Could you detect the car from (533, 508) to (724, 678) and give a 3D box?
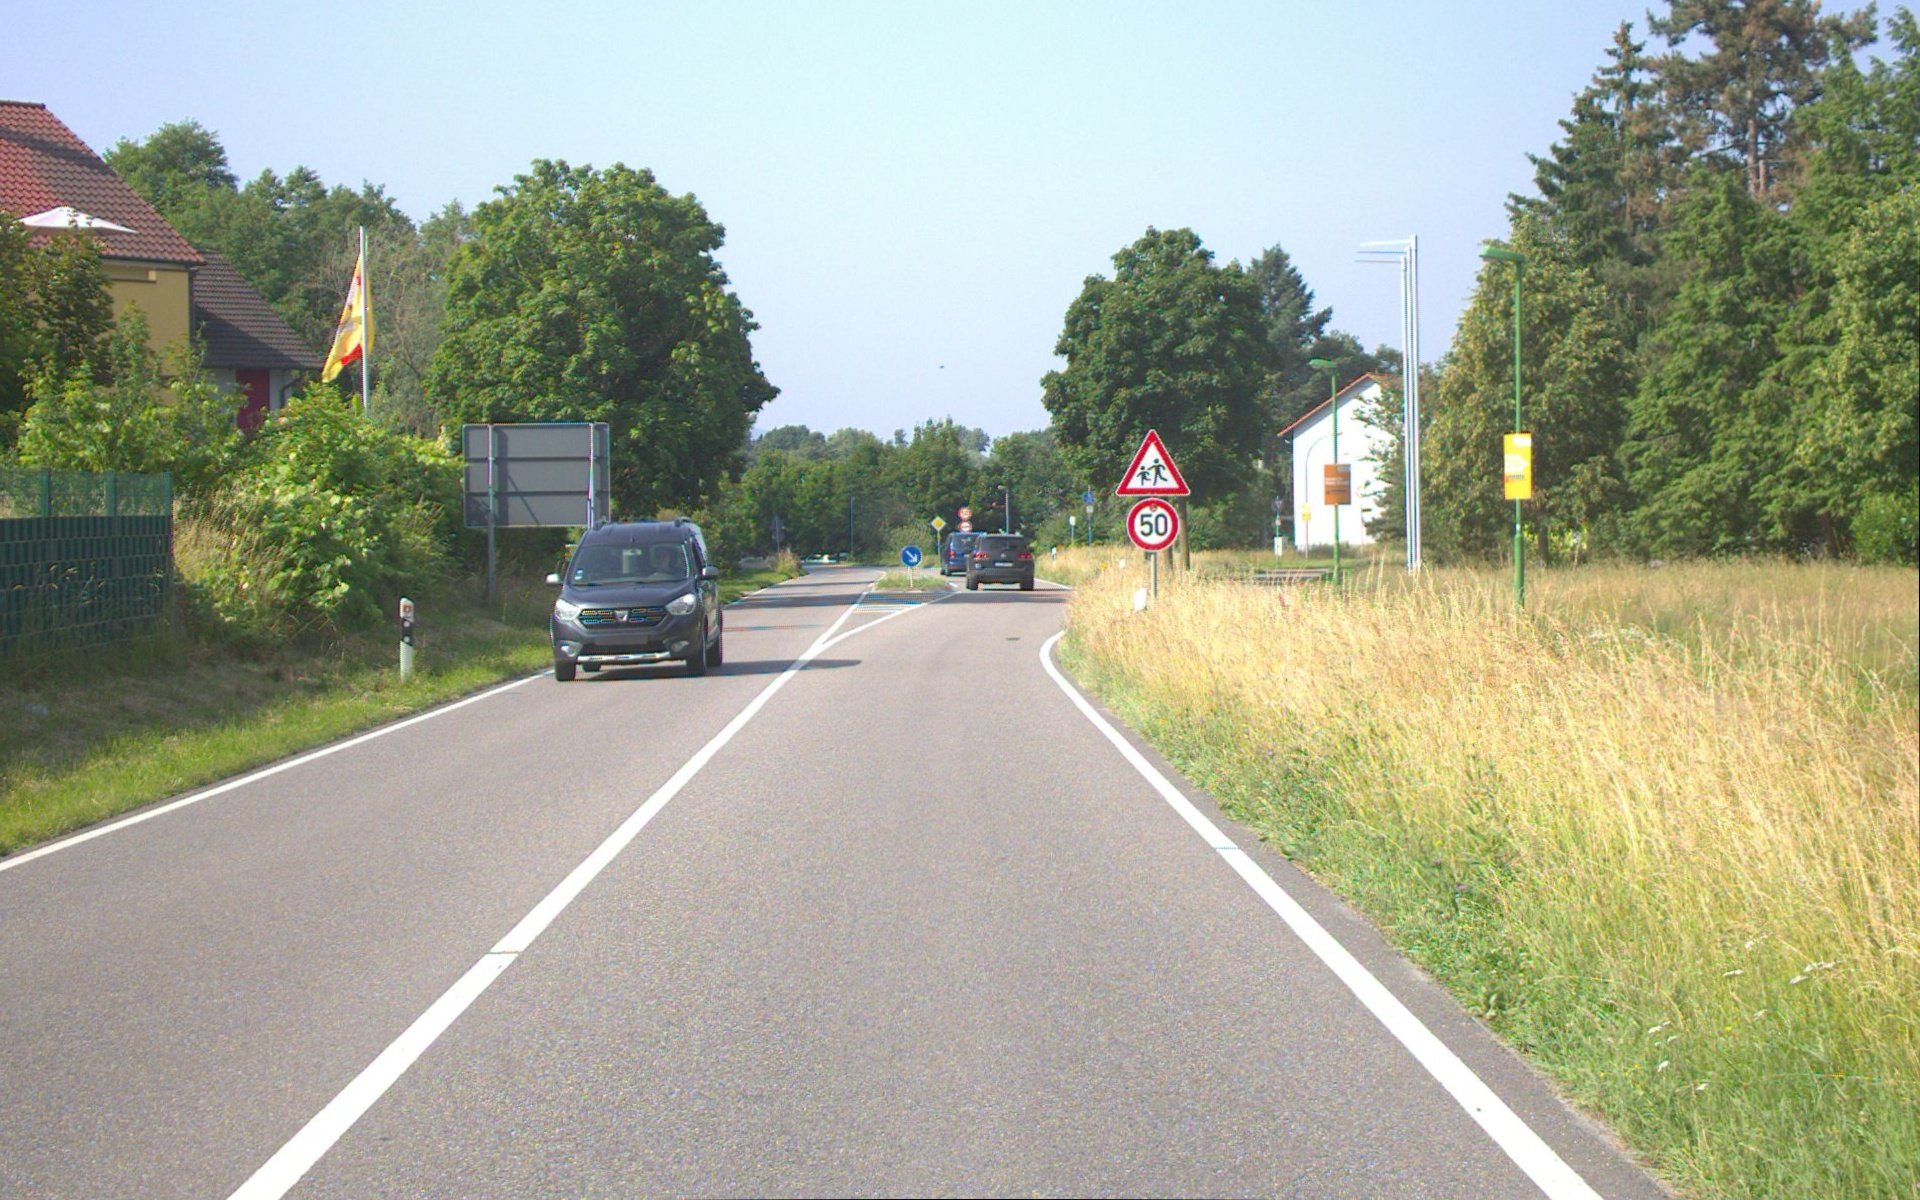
[{"bbox_3d":[-3.822,-0.121,40.251,1.939,1.811,4.242,-2,1,-3],"label":"car"}]

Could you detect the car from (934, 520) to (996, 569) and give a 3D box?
[{"bbox_3d":[0.174,-2.081,128.686,2.004,1.765,4.001,0,2,-4],"label":"car"}]

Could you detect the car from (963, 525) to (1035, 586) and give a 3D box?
[{"bbox_3d":[1.141,-1.362,103.002,1.925,1.765,4.001,0,2,-3],"label":"car"}]
